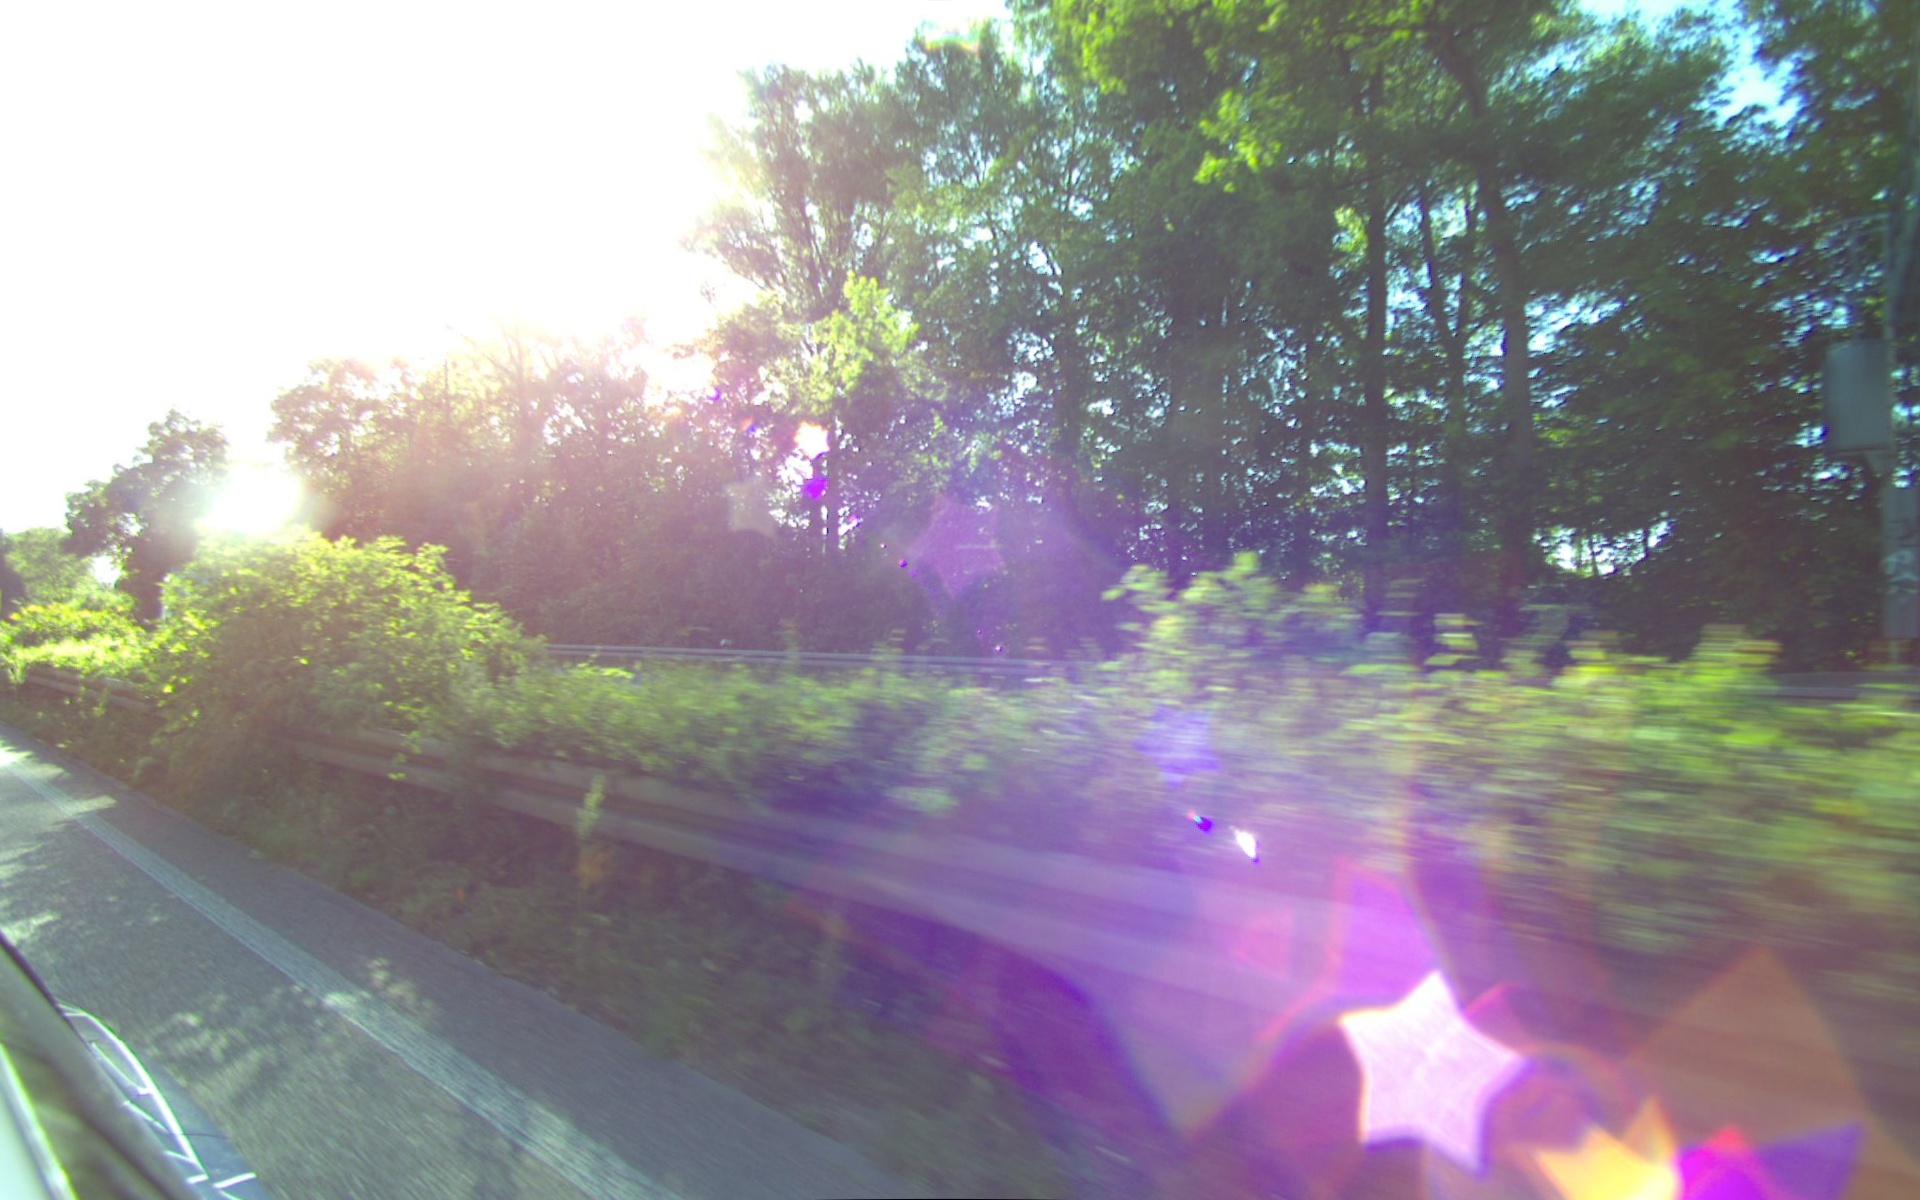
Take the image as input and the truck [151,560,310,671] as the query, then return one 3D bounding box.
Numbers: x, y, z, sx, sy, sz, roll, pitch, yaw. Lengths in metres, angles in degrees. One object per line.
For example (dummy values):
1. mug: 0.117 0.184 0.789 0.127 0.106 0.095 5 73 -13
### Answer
1. truck: -29.834 0.574 41.080 11.462 3.985 2.740 -1 0 41
